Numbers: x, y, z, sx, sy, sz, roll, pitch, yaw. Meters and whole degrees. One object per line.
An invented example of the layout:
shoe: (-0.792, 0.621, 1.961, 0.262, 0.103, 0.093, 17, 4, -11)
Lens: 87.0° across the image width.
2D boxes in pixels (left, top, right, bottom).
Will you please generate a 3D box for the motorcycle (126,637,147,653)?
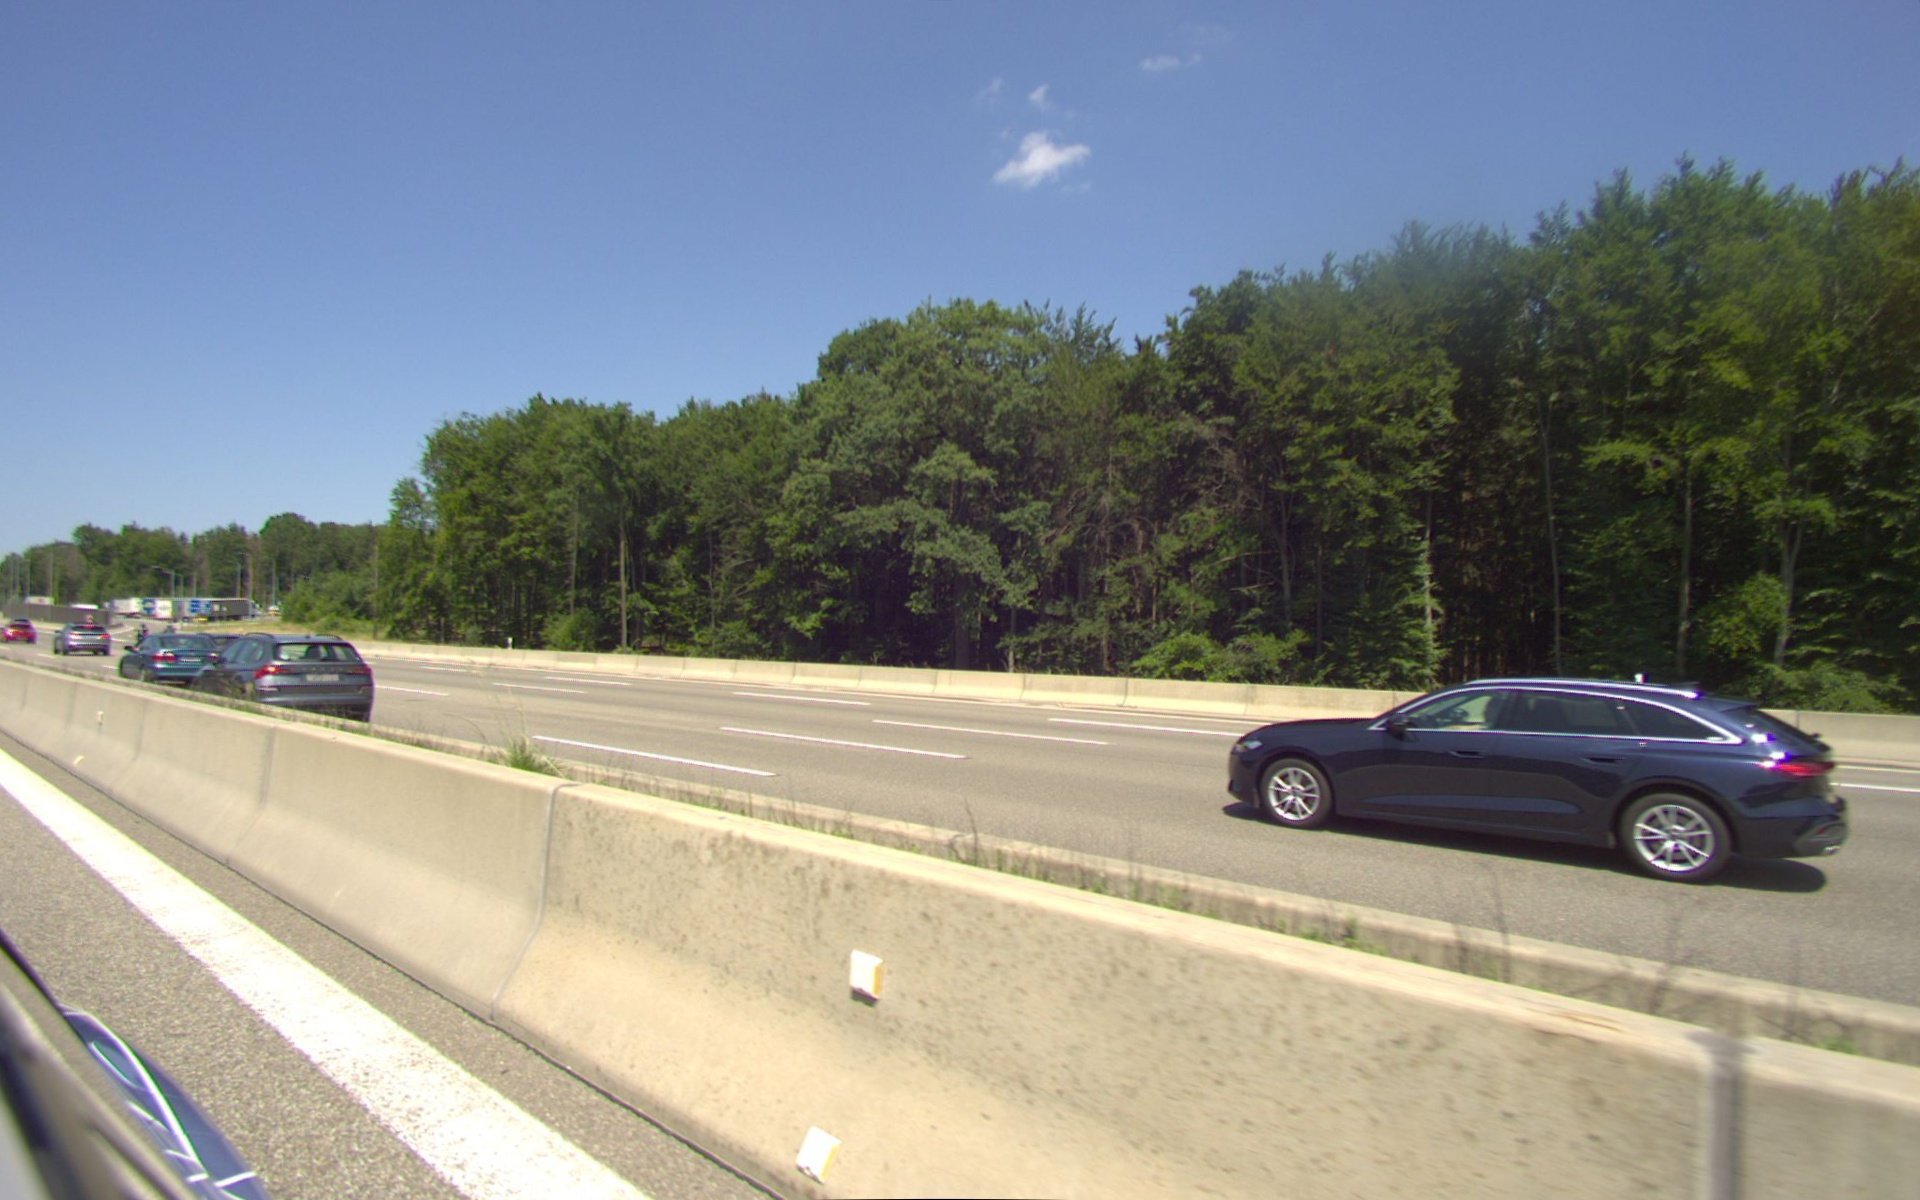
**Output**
motorcycle: (-64.689, 3.539, 79.471, 2.755, 1.150, 0.769, -1, -3, 41)

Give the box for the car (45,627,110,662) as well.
car: (-45.289, 2.257, 51.913, 4.507, 1.737, 1.950, -1, -3, 42)

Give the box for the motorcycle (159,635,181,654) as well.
motorcycle: (-55.031, 3.112, 70.520, 2.348, 1.223, 0.730, 0, -3, 41)

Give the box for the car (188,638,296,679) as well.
car: (-26.801, 2.141, 37.728, 5.038, 1.360, 1.903, -1, -3, 38)

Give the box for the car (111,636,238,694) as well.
car: (-20.438, 1.699, 26.271, 4.488, 1.387, 1.734, -4, -5, 41)

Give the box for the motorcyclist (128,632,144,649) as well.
motorcyclist: (-64.661, 3.199, 79.425, 1.077, 1.311, 0.761, -1, -3, 41)

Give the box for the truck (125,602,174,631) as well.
truck: (-159.551, 3.283, 199.259, 3.179, 5.655, 8.497, 1, -2, -5)

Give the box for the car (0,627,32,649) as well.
car: (-68.080, 2.741, 72.743, 4.029, 1.523, 1.555, -1, -3, 42)

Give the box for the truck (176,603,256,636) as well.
truck: (-133.982, 3.555, 182.719, 3.175, 5.655, 16.725, 1, -2, -4)

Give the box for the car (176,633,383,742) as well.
car: (-11.125, 1.321, 16.430, 4.349, 1.524, 1.699, -1, -3, 41)

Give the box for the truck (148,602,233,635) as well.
truck: (-137.434, 3.418, 181.230, 3.399, 5.655, 16.725, 1, -2, -4)

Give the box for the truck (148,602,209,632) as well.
truck: (-148.775, 3.306, 192.901, 3.317, 5.655, 11.549, 1, -2, -5)

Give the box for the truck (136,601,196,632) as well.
truck: (-152.213, 3.270, 194.209, 3.179, 5.655, 11.549, 1, -2, -5)

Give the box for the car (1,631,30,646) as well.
car: (-111.572, 4.567, 119.539, 5.186, 1.687, 2.025, -1, -3, 42)

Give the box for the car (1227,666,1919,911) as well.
car: (4.956, 1.360, 8.715, 4.904, 1.460, 1.700, -2, -3, 40)

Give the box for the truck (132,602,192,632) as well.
truck: (-156.072, 3.320, 198.165, 3.179, 5.655, 11.549, 1, -2, -5)

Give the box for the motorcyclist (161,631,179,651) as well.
motorcyclist: (-55.131, 2.860, 70.589, 1.077, 1.311, 0.752, 0, -2, 41)
